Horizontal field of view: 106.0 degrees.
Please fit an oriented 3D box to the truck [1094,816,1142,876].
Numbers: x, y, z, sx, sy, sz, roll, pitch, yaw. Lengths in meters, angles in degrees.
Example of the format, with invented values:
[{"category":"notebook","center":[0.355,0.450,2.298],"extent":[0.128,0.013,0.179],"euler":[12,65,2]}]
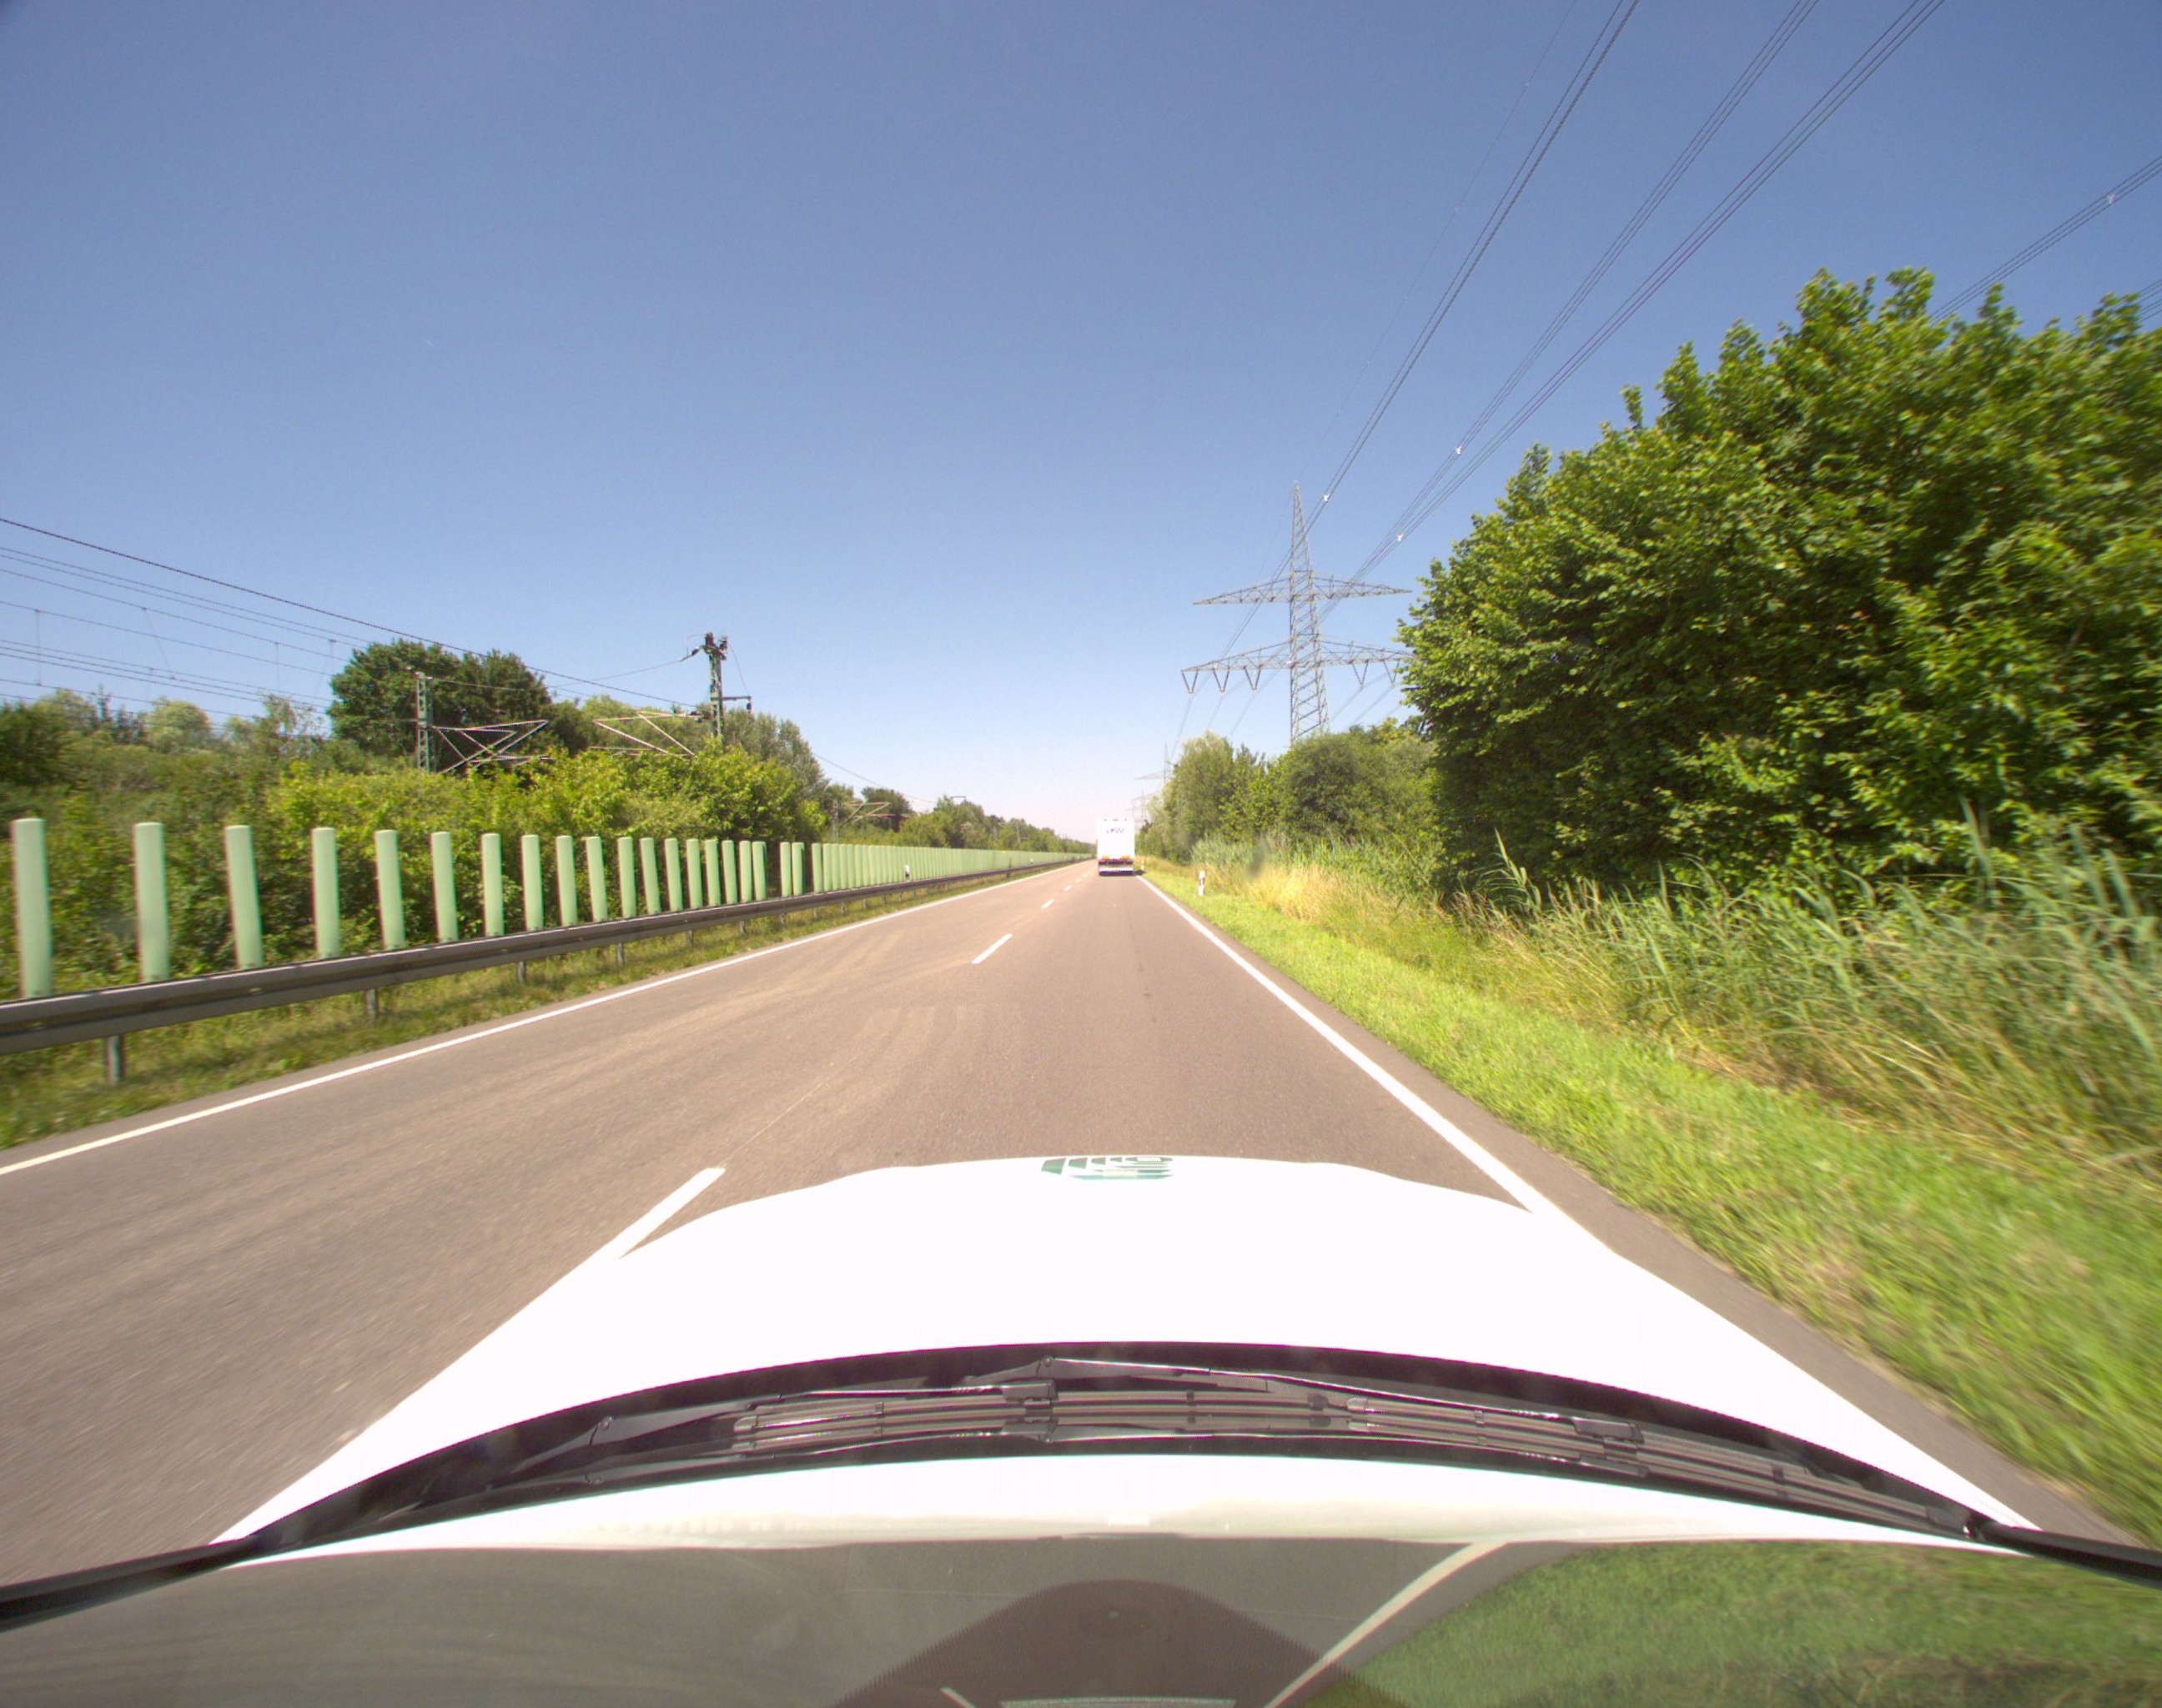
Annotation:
[{"category":"truck","center":[2.708,-0.558,61.749],"extent":[3.180,4.042,12.011],"euler":[-2,0,2]}]
